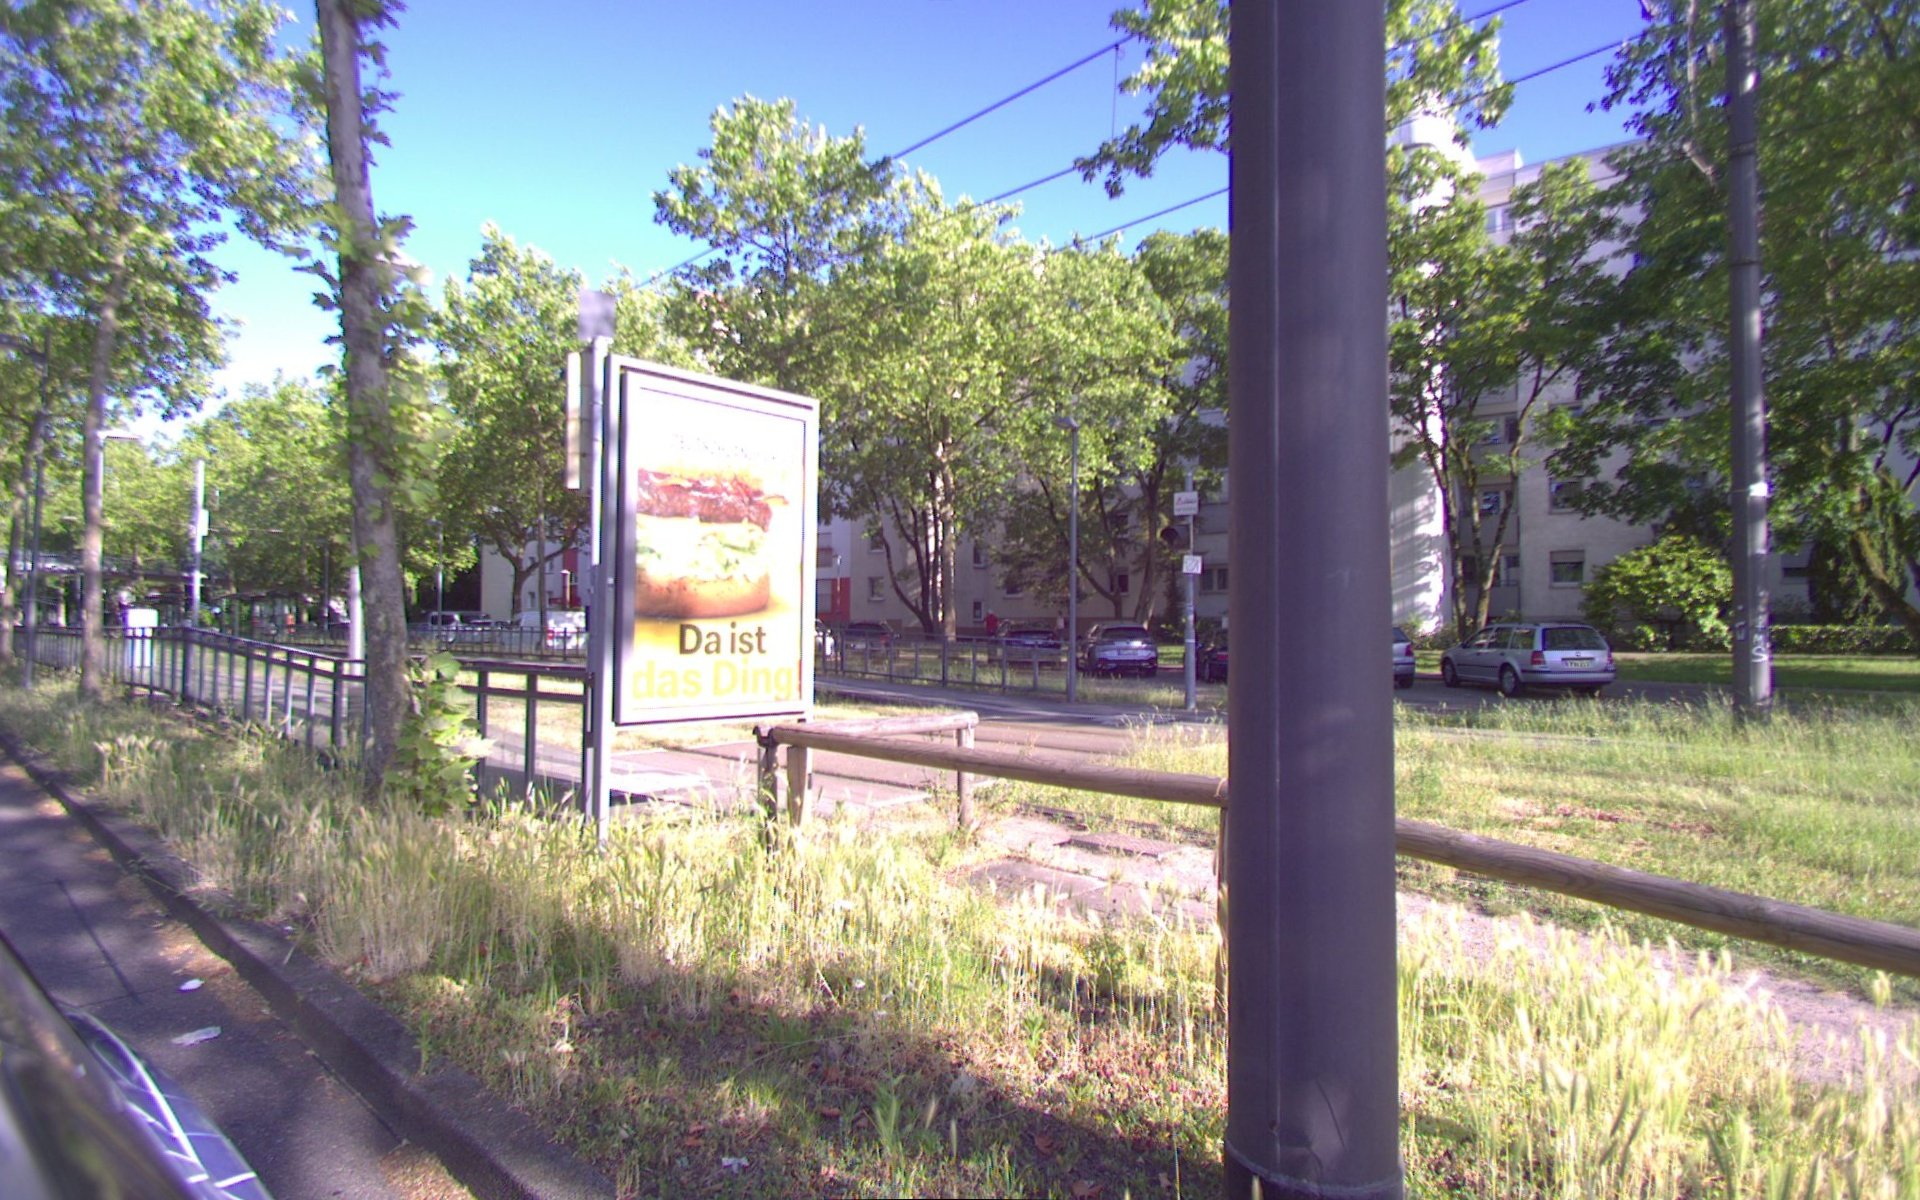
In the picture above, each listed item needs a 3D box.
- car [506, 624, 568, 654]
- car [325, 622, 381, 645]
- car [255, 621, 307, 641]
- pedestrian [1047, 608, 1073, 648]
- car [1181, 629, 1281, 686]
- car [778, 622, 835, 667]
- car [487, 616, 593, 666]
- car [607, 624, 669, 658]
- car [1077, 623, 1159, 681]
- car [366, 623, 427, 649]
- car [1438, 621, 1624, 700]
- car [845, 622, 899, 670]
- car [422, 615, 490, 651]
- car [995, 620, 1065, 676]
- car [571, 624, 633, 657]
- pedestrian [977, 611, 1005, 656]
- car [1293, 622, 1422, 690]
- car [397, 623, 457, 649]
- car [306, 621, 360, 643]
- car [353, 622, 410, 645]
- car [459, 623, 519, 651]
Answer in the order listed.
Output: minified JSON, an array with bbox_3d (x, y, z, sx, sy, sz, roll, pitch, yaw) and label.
[{"bbox_3d":[-21.332,1.942,51.183,1.633,1.452,3.805,-1,-1,-2],"label":"car"},{"bbox_3d":[-40.834,2.229,68.190,1.633,1.452,3.805,-1,-1,-2],"label":"car"},{"bbox_3d":[-53.046,2.405,79.152,1.633,1.452,3.805,-1,-1,-2],"label":"car"},{"bbox_3d":[4.179,1.179,42.194,0.786,1.635,0.755,-1,0,39],"label":"pedestrian"},{"bbox_3d":[6.680,1.378,25.277,1.445,1.234,3.815,-1,-1,0],"label":"car"},{"bbox_3d":[-5.561,1.570,37.018,1.633,1.522,3.805,-1,-1,-2],"label":"car"},{"bbox_3d":[-16.319,1.557,39.204,4.900,1.835,1.808,-2,-1,41],"label":"car"},{"bbox_3d":[-14.058,1.767,44.336,1.633,1.366,3.805,-1,-1,-2],"label":"car"},{"bbox_3d":[4.223,1.365,27.519,1.633,1.413,3.803,-1,-1,0],"label":"car"},{"bbox_3d":[-33.690,2.116,60.601,1.633,1.452,3.805,-1,-1,-2],"label":"car"},{"bbox_3d":[11.479,1.162,20.665,1.559,1.413,3.906,-1,-1,0],"label":"car"},{"bbox_3d":[-2.971,1.528,34.649,1.633,1.522,3.805,-1,-1,-2],"label":"car"},{"bbox_3d":[-28.448,1.827,57.253,1.814,1.888,4.323,-1,-1,-2],"label":"car"},{"bbox_3d":[1.989,1.356,29.667,1.633,1.522,3.805,-1,-1,-2],"label":"car"},{"bbox_3d":[-16.621,1.857,47.159,1.633,1.452,3.805,-1,-1,-2],"label":"car"},{"bbox_3d":[1.200,1.304,39.626,0.786,1.745,0.755,-1,0,39],"label":"pedestrian"},{"bbox_3d":[9.148,1.239,23.591,1.559,1.413,3.638,-1,-1,0],"label":"car"},{"bbox_3d":[-31.327,2.085,59.598,1.633,1.452,3.805,-1,-1,-2],"label":"car"},{"bbox_3d":[-44.975,2.290,72.680,1.633,1.452,3.805,-1,-1,-2],"label":"car"},{"bbox_3d":[-37.880,2.175,66.377,1.633,1.452,3.805,-1,-1,-2],"label":"car"},{"bbox_3d":[-25.866,2.001,55.659,1.633,1.452,3.805,-1,-1,-2],"label":"car"}]
